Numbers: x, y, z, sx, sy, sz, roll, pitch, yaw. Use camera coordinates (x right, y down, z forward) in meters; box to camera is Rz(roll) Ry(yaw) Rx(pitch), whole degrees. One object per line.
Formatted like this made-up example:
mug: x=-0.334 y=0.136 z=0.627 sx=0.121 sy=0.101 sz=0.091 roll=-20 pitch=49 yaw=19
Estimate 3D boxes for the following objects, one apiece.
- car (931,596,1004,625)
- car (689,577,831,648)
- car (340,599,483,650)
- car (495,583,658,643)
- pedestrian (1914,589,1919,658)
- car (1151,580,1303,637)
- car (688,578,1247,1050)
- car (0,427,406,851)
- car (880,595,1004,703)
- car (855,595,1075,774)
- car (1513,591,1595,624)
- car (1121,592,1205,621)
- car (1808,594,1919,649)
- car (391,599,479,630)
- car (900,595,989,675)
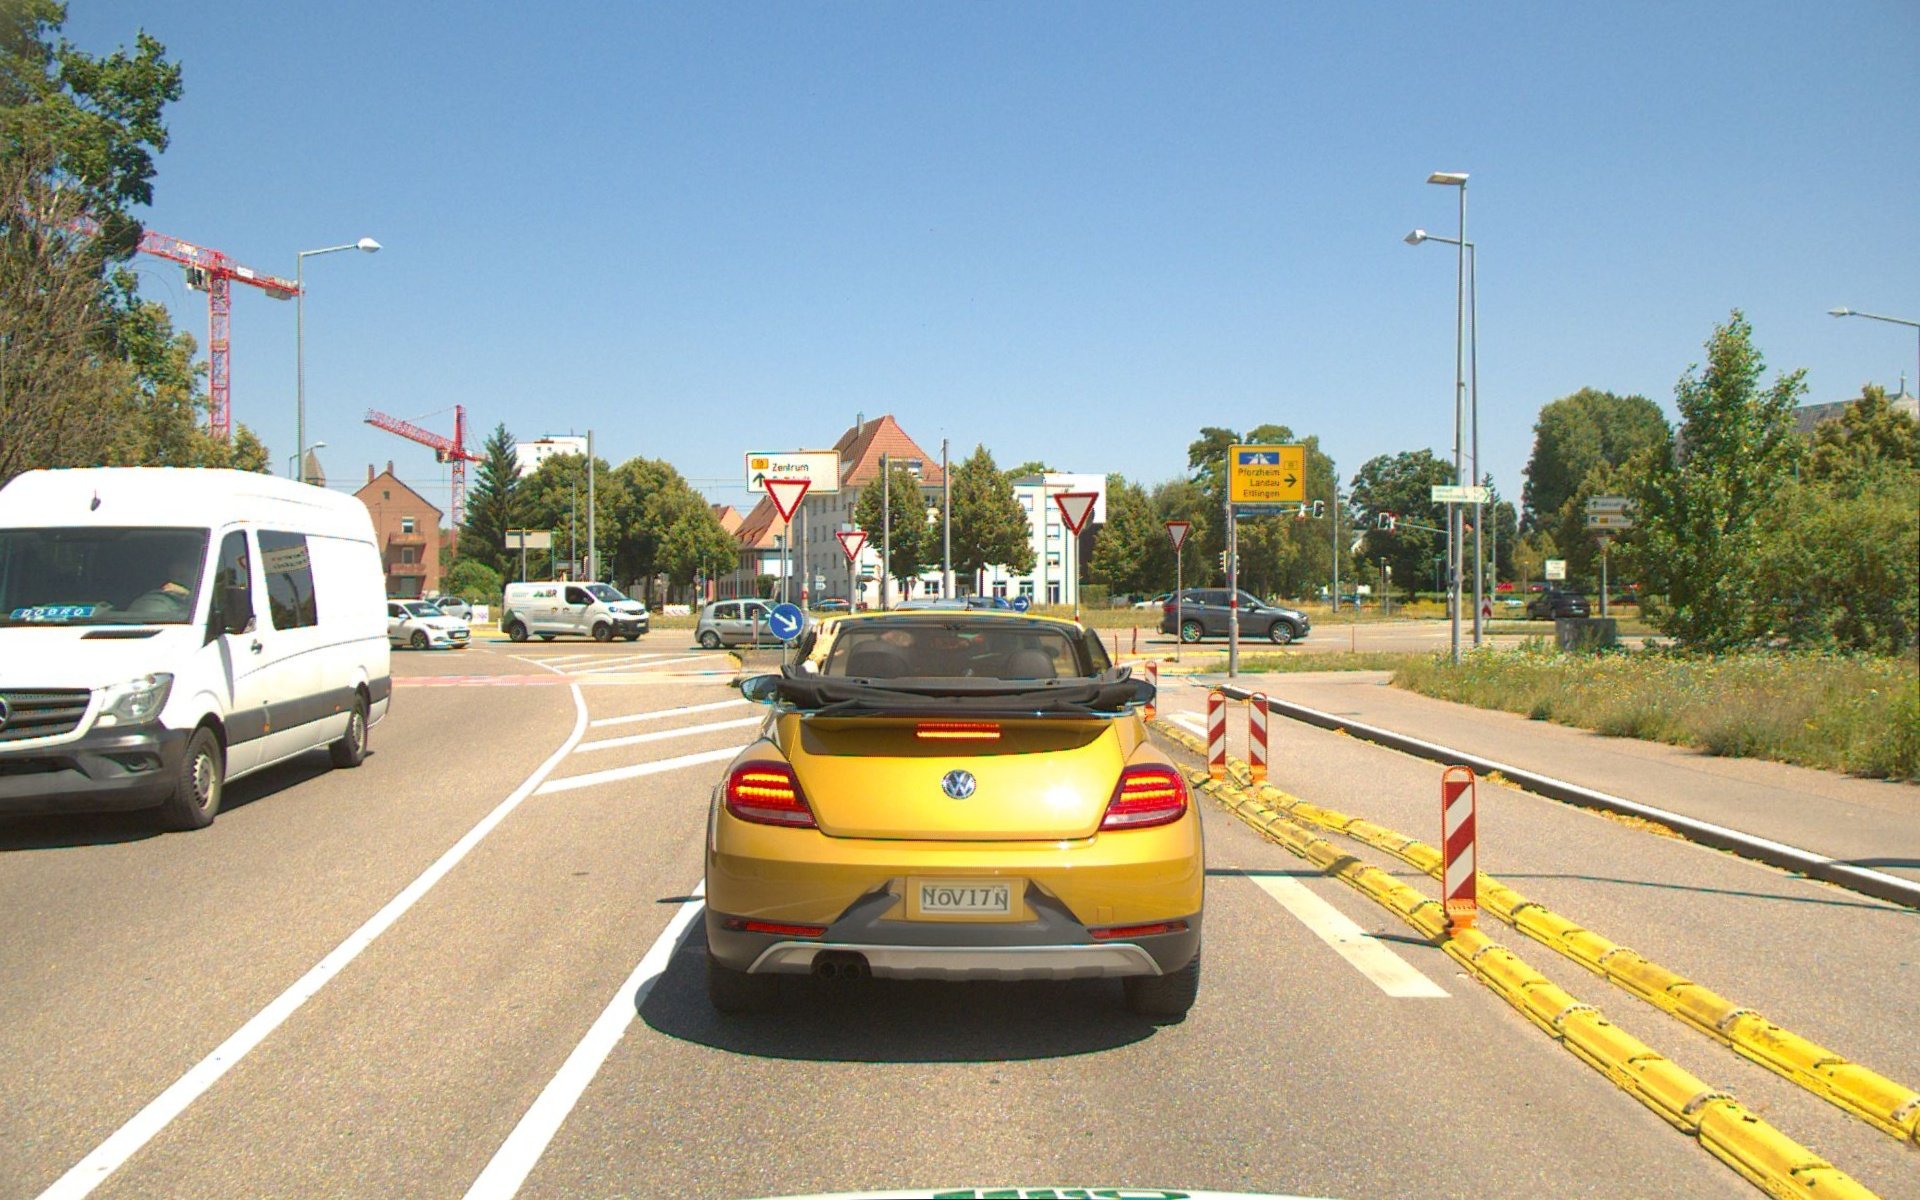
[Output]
car: x=0.509 y=0.701 z=111.110 sx=4.814 sy=1.817 sz=2.026 roll=-1 pitch=0 yaw=1
car: x=-5.611 y=0.356 z=46.600 sx=3.587 sy=1.882 sz=1.634 roll=-2 pitch=-1 yaw=12
car: x=-16.511 y=0.710 z=49.825 sx=3.925 sy=1.470 sz=1.633 roll=0 pitch=0 yaw=20
car: x=-12.430 y=0.397 z=53.553 sx=4.868 sy=1.882 sz=2.000 roll=0 pitch=0 yaw=21
pedestrian: x=22.325 y=0.541 z=38.006 sx=0.487 sy=1.590 sz=0.514 roll=0 pitch=0 yaw=-1
car: x=7.829 y=0.253 z=48.856 sx=4.338 sy=1.624 sz=2.001 roll=0 pitch=0 yaw=6
car: x=-0.008 y=0.665 z=6.993 sx=1.717 sy=1.447 sz=3.776 roll=0 pitch=0 yaw=-1
car: x=-6.276 y=0.243 z=13.504 sx=1.982 sy=2.583 sz=6.816 roll=-1 pitch=0 yaw=-7
car: x=-0.278 y=0.676 z=24.773 sx=1.701 sy=1.467 sz=3.999 roll=0 pitch=0 yaw=-1
car: x=0.017 y=0.700 z=15.680 sx=1.810 sy=1.467 sz=3.999 roll=0 pitch=0 yaw=-1
car: x=31.972 y=0.384 z=89.135 sx=1.915 sy=1.701 sz=4.175 roll=-1 pitch=0 yaw=-21
car: x=13.328 y=0.418 z=108.669 sx=5.062 sy=1.817 sz=2.025 roll=-1 pitch=0 yaw=26
car: x=25.003 y=0.558 z=44.198 sx=4.114 sy=1.415 sz=1.898 roll=0 pitch=0 yaw=29
car: x=-26.635 y=0.732 z=84.086 sx=1.676 sy=1.526 sz=4.210 roll=0 pitch=0 yaw=31
car: x=-0.326 y=0.668 z=33.554 sx=1.701 sy=1.503 sz=3.999 roll=0 pitch=0 yaw=-1
